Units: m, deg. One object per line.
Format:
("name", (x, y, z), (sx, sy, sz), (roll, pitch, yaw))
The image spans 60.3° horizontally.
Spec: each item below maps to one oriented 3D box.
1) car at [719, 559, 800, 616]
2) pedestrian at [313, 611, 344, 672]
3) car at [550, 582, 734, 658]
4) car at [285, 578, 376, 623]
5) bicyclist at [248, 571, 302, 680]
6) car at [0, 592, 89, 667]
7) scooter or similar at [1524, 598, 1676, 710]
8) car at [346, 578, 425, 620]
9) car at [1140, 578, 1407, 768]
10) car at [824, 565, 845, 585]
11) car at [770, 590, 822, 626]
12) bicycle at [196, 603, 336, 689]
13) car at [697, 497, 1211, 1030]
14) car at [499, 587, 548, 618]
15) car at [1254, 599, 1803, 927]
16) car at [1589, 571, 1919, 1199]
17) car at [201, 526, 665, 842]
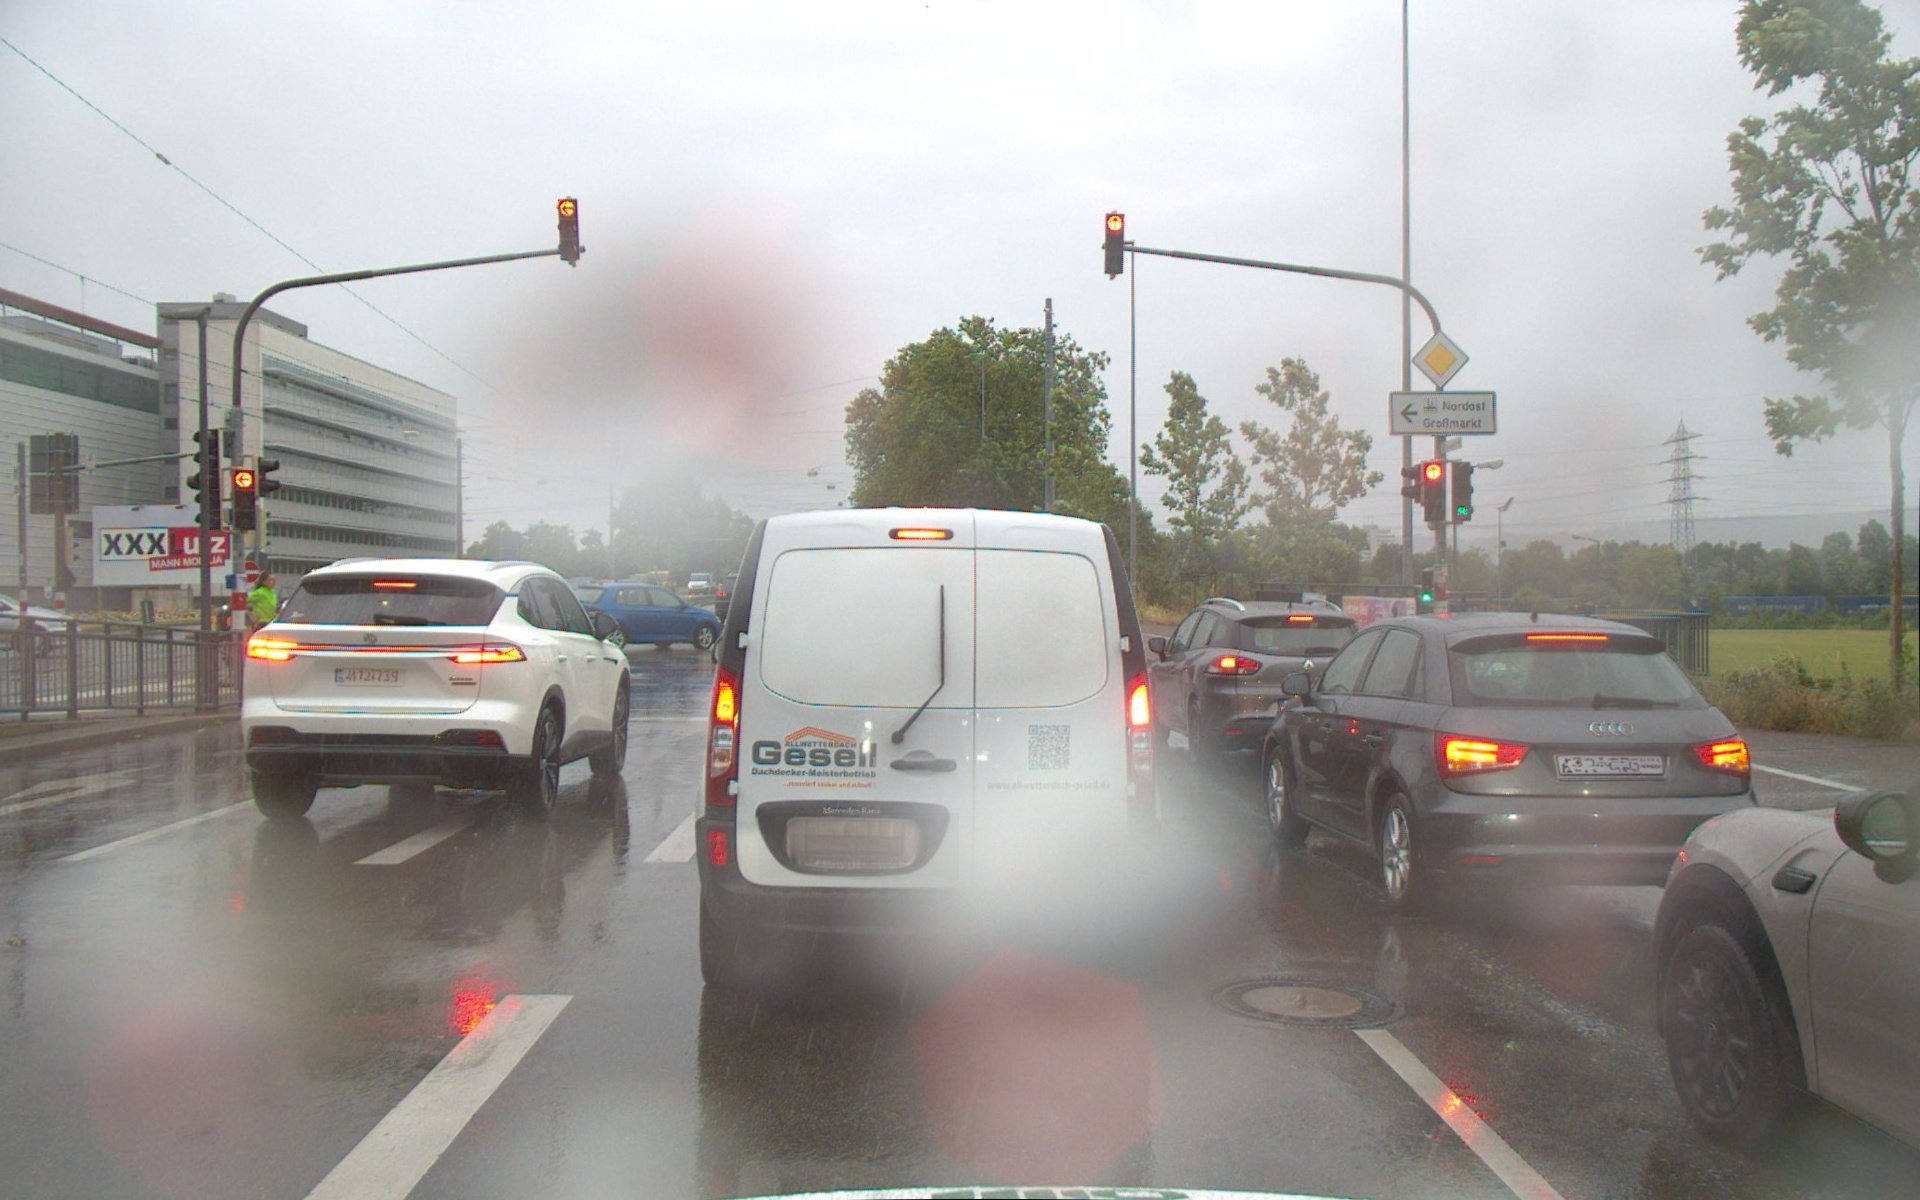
("car", (-6.563, -0.383, 54.509), (1.665, 1.703, 3.800), (4, 0, 7))
("pedestrian", (-9.686, 0.640, 25.371), (0.309, 0.913, 0.380), (2, 0, -3))
("car", (-7.025, 0.464, 36.734), (3.715, 1.533, 1.624), (3, 0, -45))
("car", (-21.575, 0.047, 56.850), (1.676, 1.451, 3.808), (2, -1, -1))
("bicyclist", (-9.650, 0.357, 23.296), (0.597, 1.517, 0.594), (1, 0, -31))
("car", (-20.376, 0.553, 33.988), (4.181, 1.452, 1.639), (2, 0, -23))
("scooter or similar", (7.647, 0.597, 19.943), (0.676, 1.232, 3.020), (0, 0, 0))
("car", (-21.753, -0.017, 62.753), (1.676, 1.451, 3.808), (2, -1, -1))
("car", (2.803, 0.603, 15.594), (1.650, 1.534, 3.919), (1, 0, -2))
("car", (-12.406, -2.466, 163.666), (1.909, 1.691, 4.460), (2, -1, -4))
("car", (-7.223, 0.345, 73.180), (1.611, 1.422, 3.456), (4, 0, 4))
("bicycle", (-9.718, 0.647, 23.191), (1.737, 1.157, 0.514), (1, 0, -33))
("car", (-0.161, 0.522, 7.669), (1.719, 1.780, 4.166), (1, 1, -4))
("car", (-22.008, 0.144, 83.552), (1.528, 1.451, 3.568), (2, -1, -1))
("car", (2.790, 0.731, 8.973), (1.565, 1.390, 3.628), (-1, -1, -3))
("car", (2.884, 0.746, 3.312), (1.668, 1.534, 3.879), (3, 0, -1))
("car", (-3.493, 0.493, 12.004), (1.891, 1.806, 4.663), (1, 0, -1))
